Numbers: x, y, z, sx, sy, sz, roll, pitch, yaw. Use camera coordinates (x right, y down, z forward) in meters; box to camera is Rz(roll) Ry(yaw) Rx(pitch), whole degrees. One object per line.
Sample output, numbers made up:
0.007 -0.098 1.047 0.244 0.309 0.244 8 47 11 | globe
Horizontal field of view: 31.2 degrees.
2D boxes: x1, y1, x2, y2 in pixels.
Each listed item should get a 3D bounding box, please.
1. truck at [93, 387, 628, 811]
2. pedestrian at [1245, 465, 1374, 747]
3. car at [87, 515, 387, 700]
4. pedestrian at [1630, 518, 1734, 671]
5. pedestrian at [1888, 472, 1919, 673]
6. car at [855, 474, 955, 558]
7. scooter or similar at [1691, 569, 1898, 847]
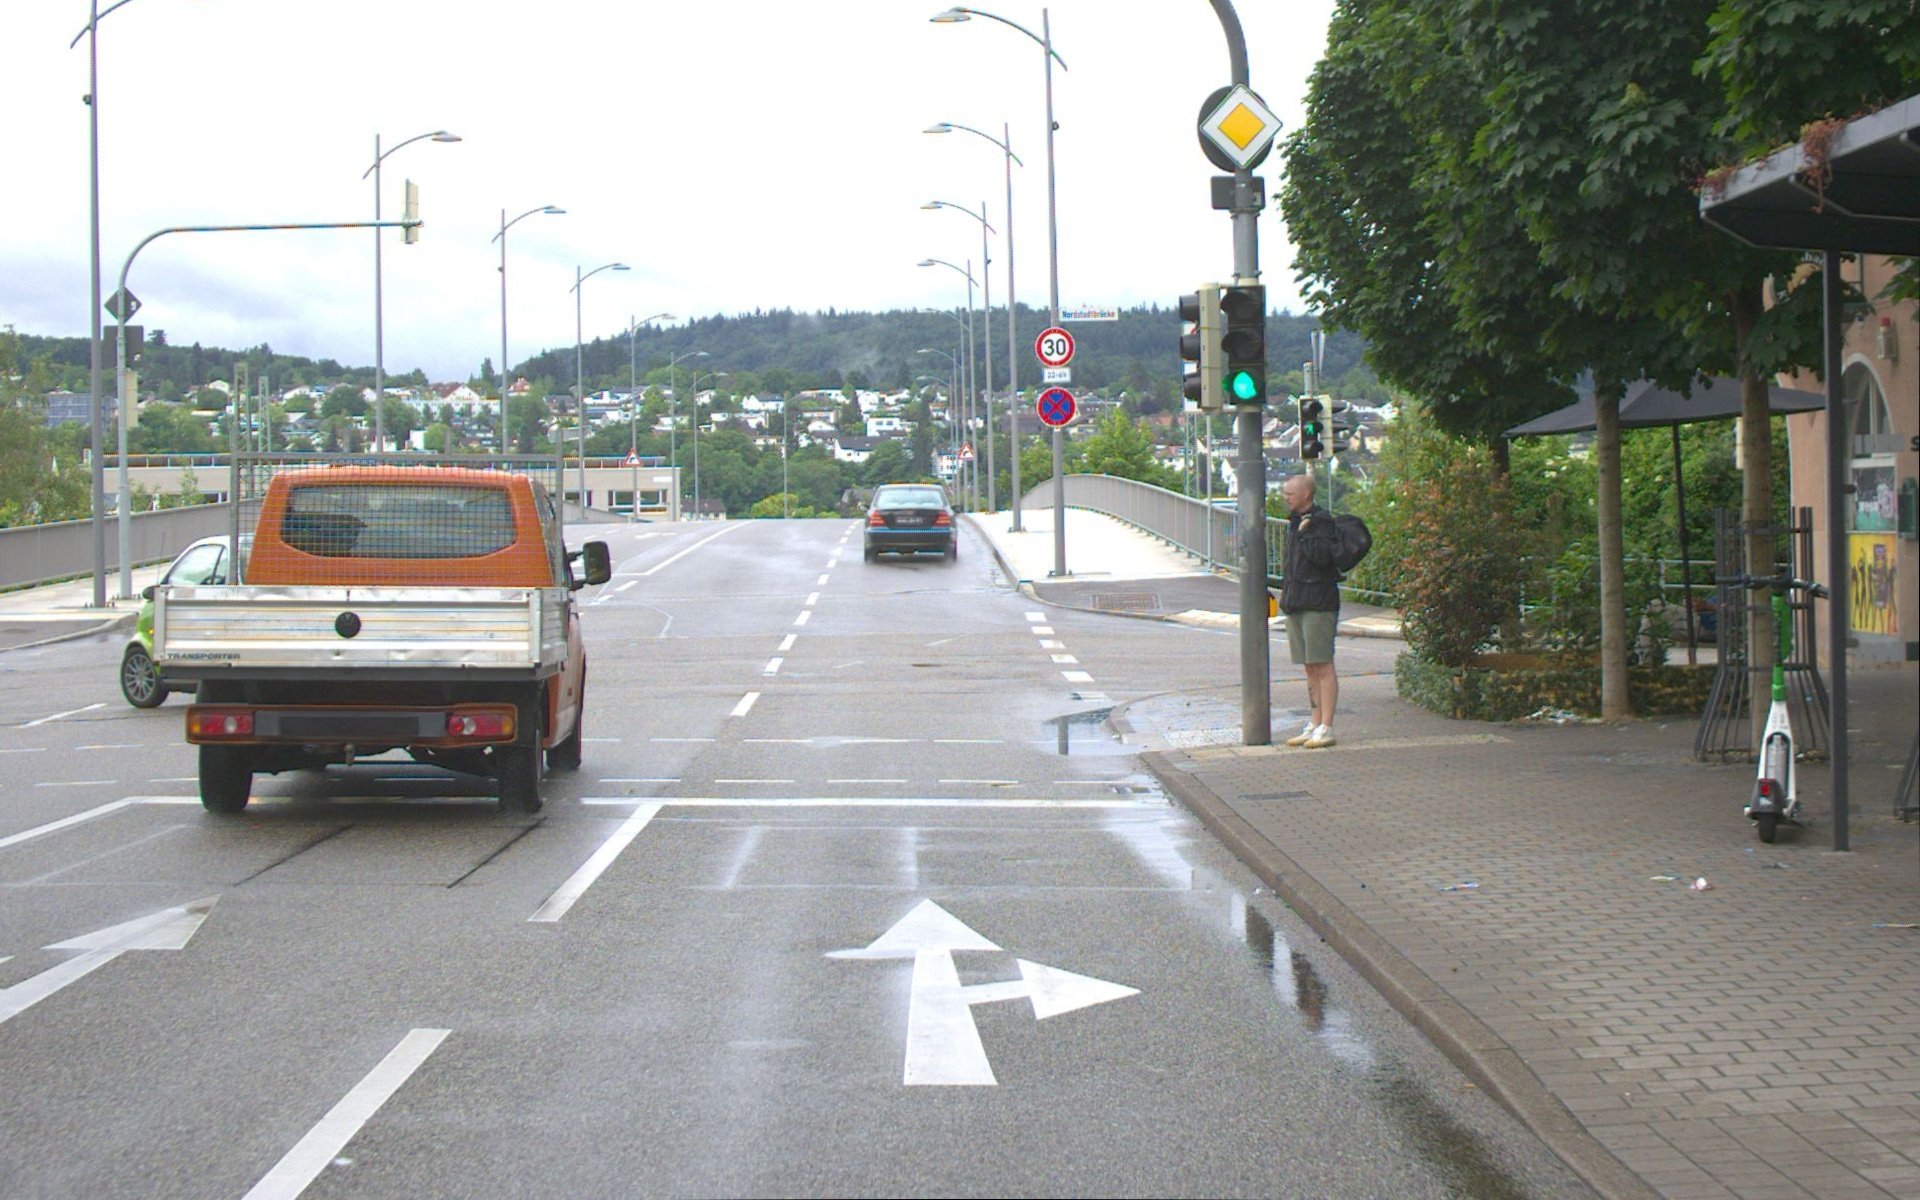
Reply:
-3.334 -0.043 20.327 2.399 2.122 5.315 -1 1 -2 | truck
2.316 0.034 22.866 0.733 1.835 0.631 -1 1 -2 | pedestrian
-6.433 0.057 30.465 1.527 1.542 2.665 -2 1 -39 | car
5.715 -0.045 27.232 0.664 1.185 0.557 -1 1 -2 | pedestrian
7.784 -0.227 27.245 0.644 1.566 0.725 -1 1 2 | pedestrian
-1.001 -1.531 63.585 1.754 1.474 4.000 -1 1 -1 | car
3.728 0.455 15.448 0.511 1.168 1.549 -1 1 -1 | scooter or similar
